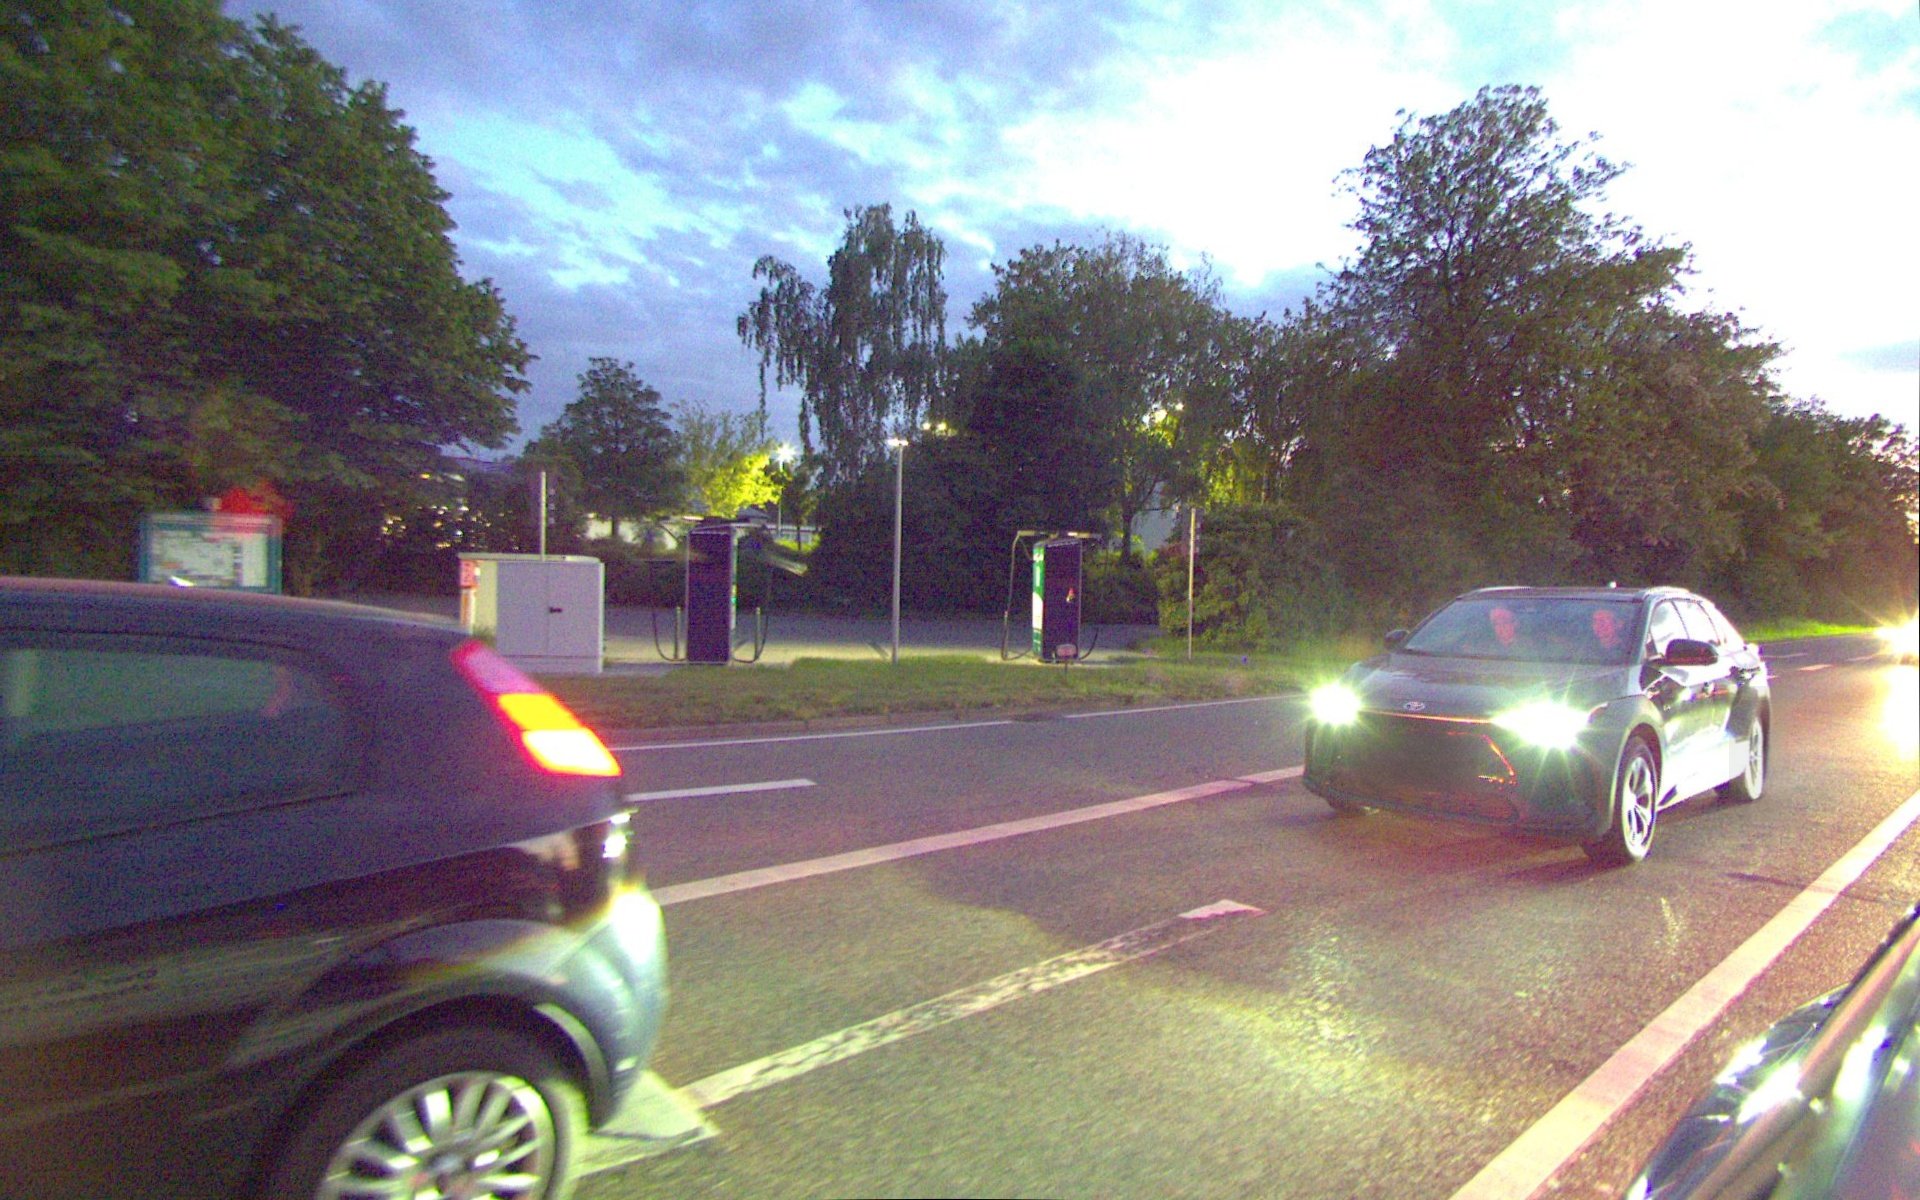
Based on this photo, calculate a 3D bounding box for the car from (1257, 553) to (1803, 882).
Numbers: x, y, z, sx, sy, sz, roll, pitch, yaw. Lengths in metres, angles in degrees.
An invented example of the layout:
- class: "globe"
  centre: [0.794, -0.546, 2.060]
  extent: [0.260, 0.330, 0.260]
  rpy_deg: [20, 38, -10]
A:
- class: "car"
  centre: [4.312, 0.573, 7.297]
  extent: [4.629, 1.630, 1.997]
  rpy_deg: [0, 0, -41]

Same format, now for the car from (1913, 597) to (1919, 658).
- class: "car"
  centre: [25.215, 0.680, 25.314]
  extent: [3.803, 1.487, 1.622]
  rpy_deg: [0, 0, -41]

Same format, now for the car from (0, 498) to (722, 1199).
- class: "car"
  centre: [-2.621, 0.604, 1.653]
  extent: [4.032, 1.540, 1.674]
  rpy_deg: [0, 1, -39]
